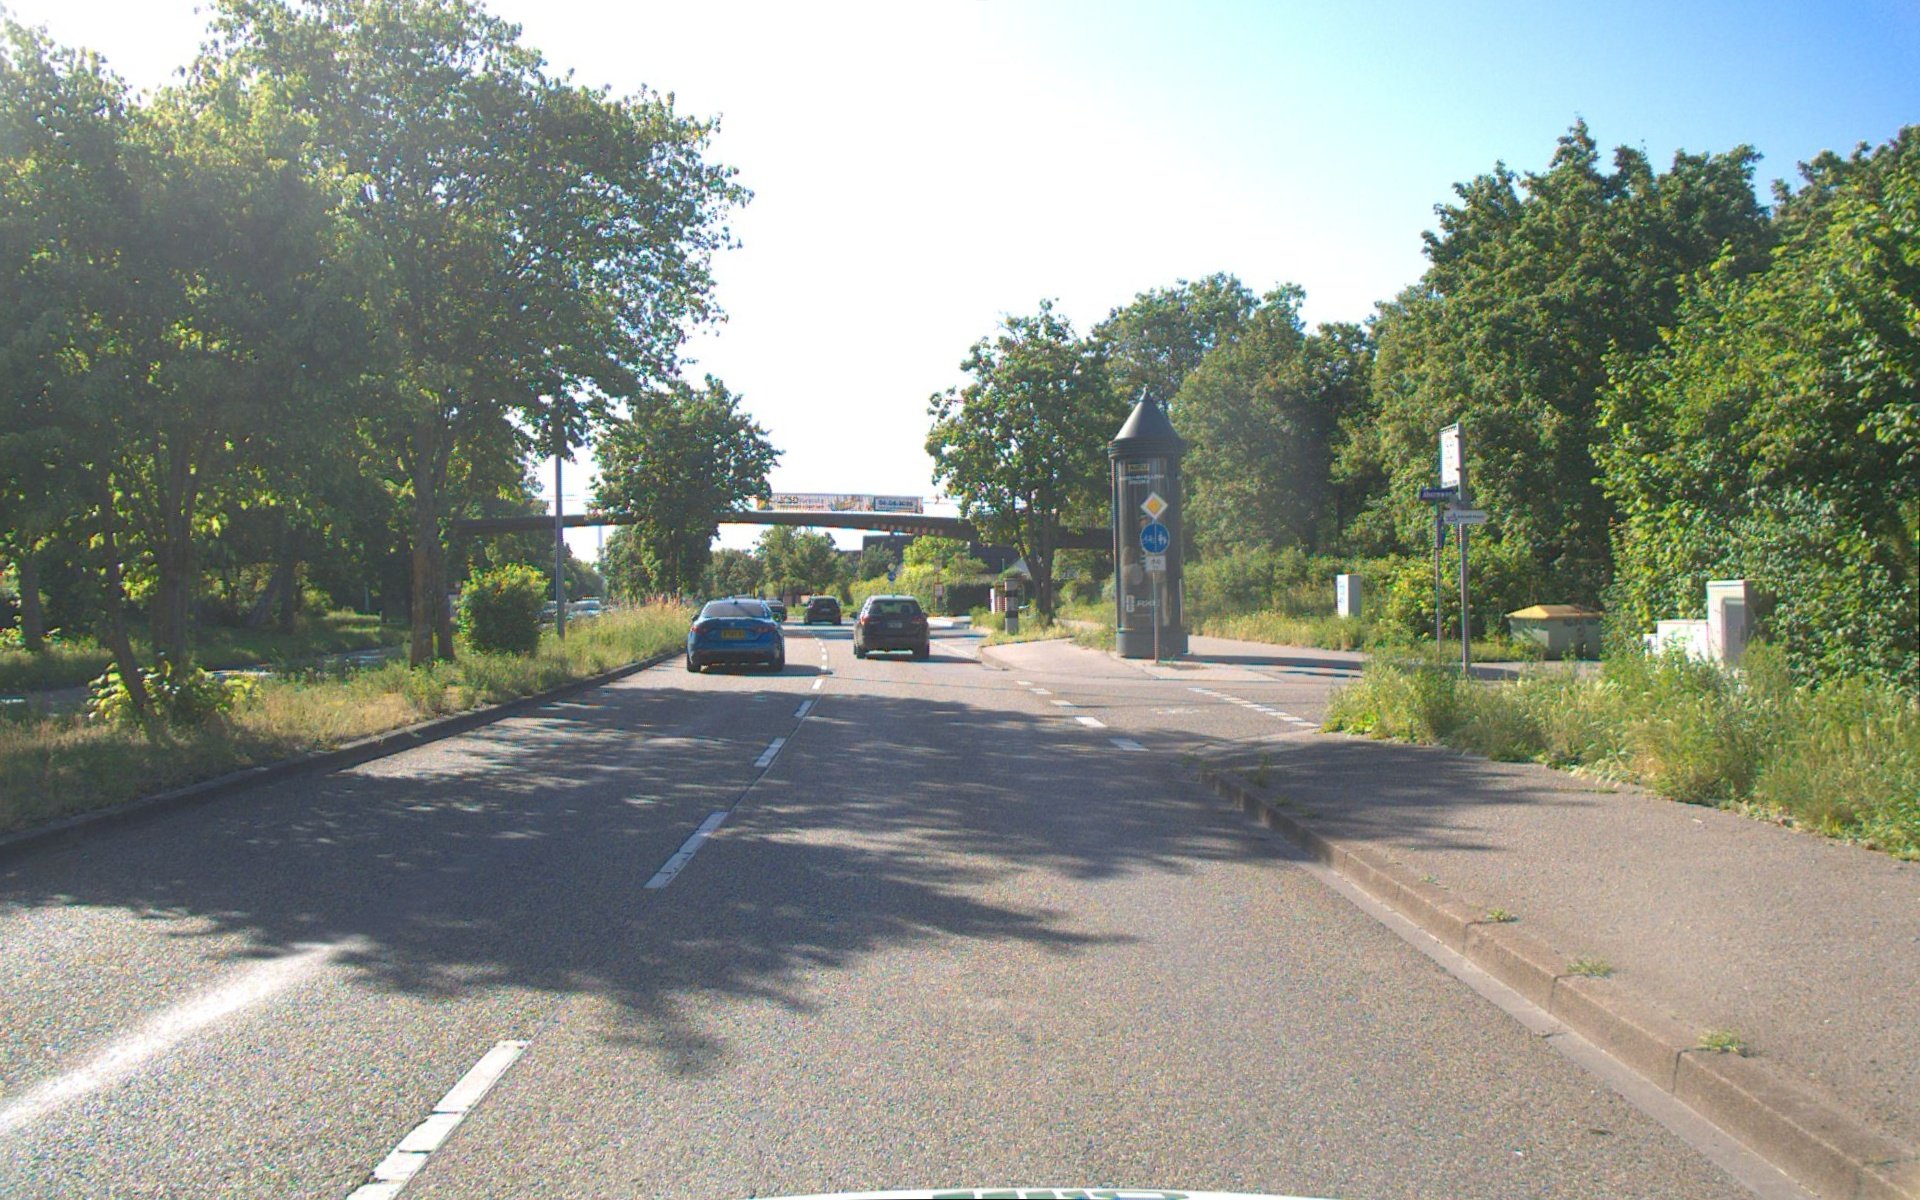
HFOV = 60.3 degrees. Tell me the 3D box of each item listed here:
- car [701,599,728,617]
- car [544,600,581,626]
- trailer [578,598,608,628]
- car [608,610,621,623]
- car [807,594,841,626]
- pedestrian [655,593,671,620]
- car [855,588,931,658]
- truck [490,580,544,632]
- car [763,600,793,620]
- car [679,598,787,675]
[{"bbox_3d":[-19.495,0.626,131.401,1.865,1.379,3.988,-1,0,-12],"label":"car"},{"bbox_3d":[-26.664,0.856,110.978,1.821,1.634,4.361,-3,0,-6],"label":"car"},{"bbox_3d":[-24.282,0.850,109.521,1.533,1.943,4.275,-1,0,-7],"label":"trailer"},{"bbox_3d":[-46.247,2.180,221.277,1.700,1.660,4.185,-2,0,-12],"label":"car"},{"bbox_3d":[-7.270,0.495,88.043,1.710,1.625,4.170,-1,0,-6],"label":"car"},{"bbox_3d":[-19.381,0.441,107.942,0.617,1.726,0.943,-1,0,18],"label":"pedestrian"},{"bbox_3d":[-1.624,0.565,40.177,1.725,1.587,3.998,1,-1,-2],"label":"car"},{"bbox_3d":[-23.376,0.315,87.475,2.133,2.556,5.729,-3,0,-10],"label":"truck"},{"bbox_3d":[-13.689,0.735,124.169,1.865,1.379,3.988,-1,0,-12],"label":"car"},{"bbox_3d":[-4.547,0.697,33.621,1.956,1.429,3.996,-1,0,-5],"label":"car"}]
